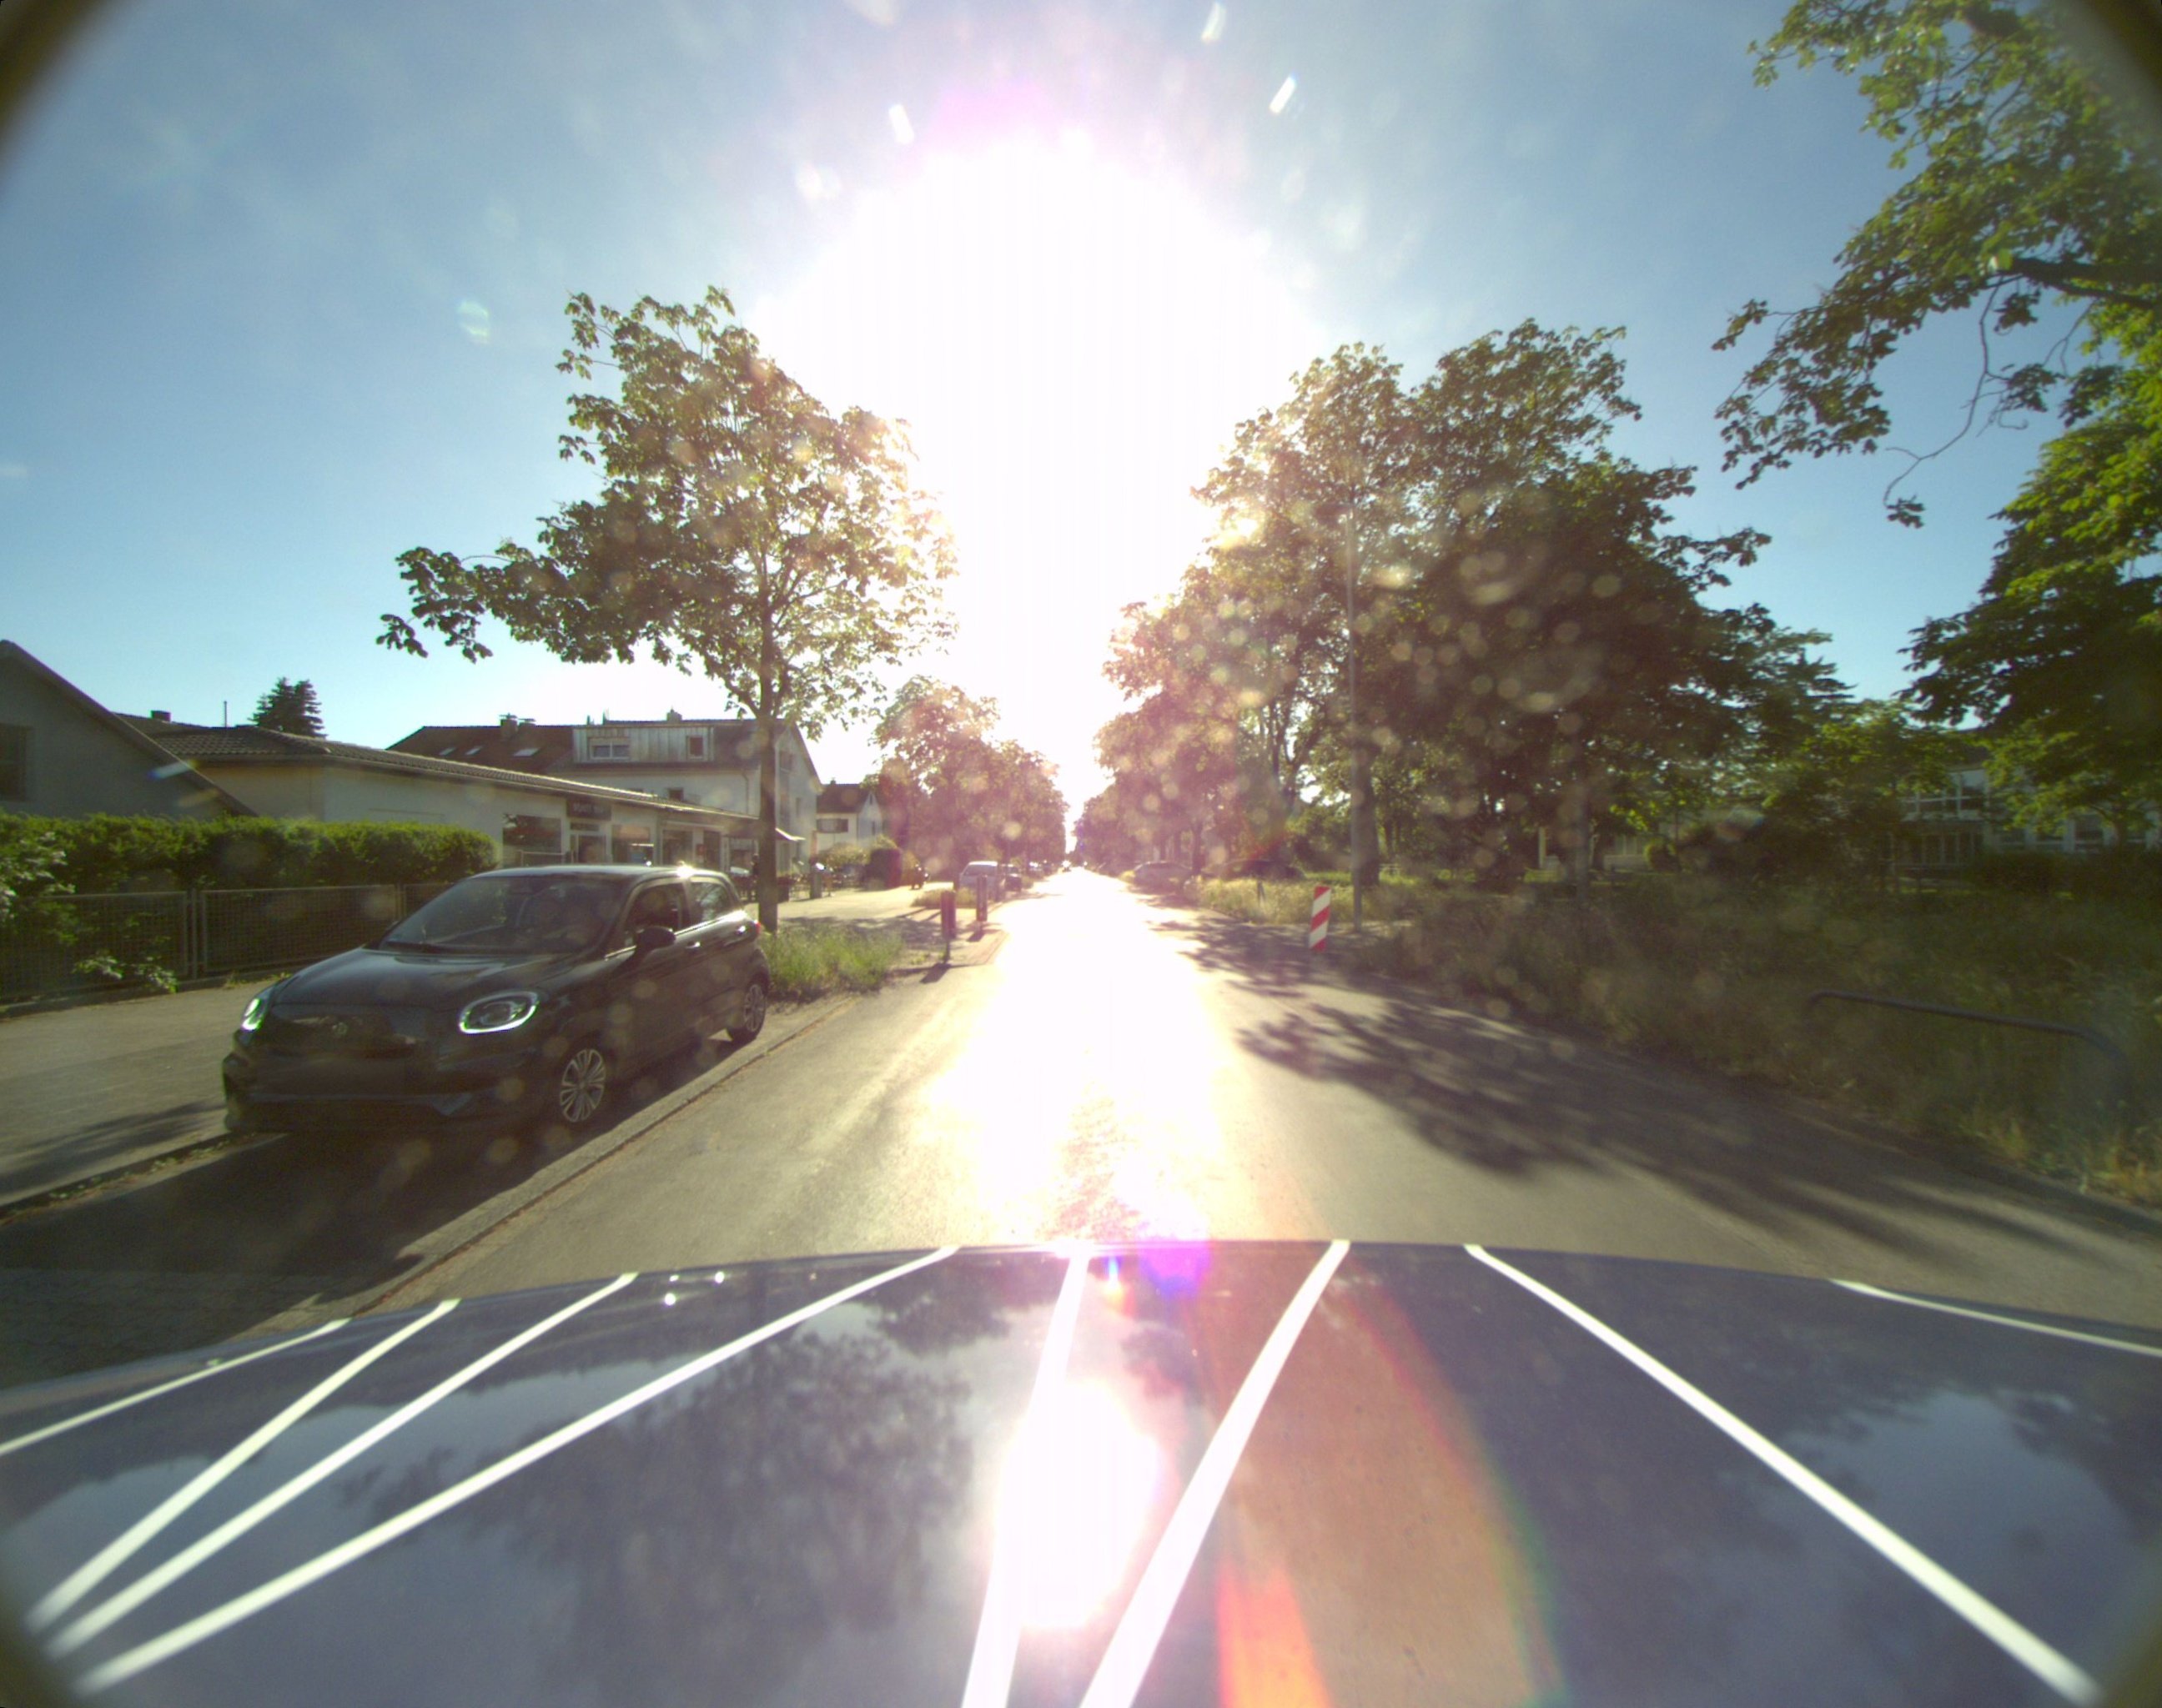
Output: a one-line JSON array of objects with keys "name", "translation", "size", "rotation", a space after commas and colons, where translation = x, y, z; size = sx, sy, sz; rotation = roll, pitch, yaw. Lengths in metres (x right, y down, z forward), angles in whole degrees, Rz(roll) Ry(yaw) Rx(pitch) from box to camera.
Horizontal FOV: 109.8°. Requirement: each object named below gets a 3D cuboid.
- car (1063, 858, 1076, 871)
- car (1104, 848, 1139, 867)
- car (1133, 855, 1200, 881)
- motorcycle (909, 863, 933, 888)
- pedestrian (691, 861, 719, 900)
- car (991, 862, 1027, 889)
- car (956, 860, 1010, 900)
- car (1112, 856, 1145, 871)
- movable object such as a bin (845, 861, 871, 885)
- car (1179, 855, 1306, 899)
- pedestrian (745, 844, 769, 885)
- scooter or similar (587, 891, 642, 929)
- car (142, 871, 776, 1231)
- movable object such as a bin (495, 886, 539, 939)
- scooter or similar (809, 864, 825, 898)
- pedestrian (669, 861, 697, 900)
[{"name": "car", "translation": [-1.882, 1.759, 126.813], "size": [1.999, 2.002, 3.999], "rotation": [-2, 1, 0]}, {"name": "car", "translation": [5.985, 0.559, 113.223], "size": [5.122, 2.597, 2.125], "rotation": [-2, 1, 2]}, {"name": "car", "translation": [5.640, 0.933, 50.505], "size": [4.204, 1.552, 2.000], "rotation": [-2, 0, 0]}, {"name": "motorcycle", "translation": [-8.730, 1.140, 41.584], "size": [0.838, 1.247, 2.344], "rotation": [-2, 1, -2]}, {"name": "pedestrian", "translation": [-13.152, 0.931, 26.583], "size": [0.641, 1.314, 0.574], "rotation": [3, 1, -1]}, {"name": "car", "translation": [-4.037, 1.173, 42.944], "size": [1.733, 1.473, 3.857], "rotation": [0, -1, -1]}, {"name": "car", "translation": [-4.153, 1.074, 32.767], "size": [1.732, 1.568, 3.858], "rotation": [0, 0, 2]}, {"name": "car", "translation": [5.982, 1.184, 96.763], "size": [3.998, 1.740, 1.890], "rotation": [-2, 1, -2]}, {"name": "movable object such as a bin", "translation": [-12.497, 1.047, 42.589], "size": [1.172, 1.286, 0.928], "rotation": [0, 1, -2]}, {"name": "car", "translation": [6.417, 0.911, 30.520], "size": [4.616, 1.552, 2.000], "rotation": [-2, 0, 0]}, {"name": "pedestrian", "translation": [-14.510, 0.484, 34.070], "size": [0.672, 1.798, 0.735], "rotation": [-2, 1, 0]}, {"name": "scooter or similar", "translation": [-10.190, 1.222, 16.643], "size": [0.450, 0.712, 1.228], "rotation": [3, 0, -2]}, {"name": "car", "translation": [-3.616, 0.962, 5.340], "size": [1.497, 1.565, 3.600], "rotation": [2, 0, -1]}, {"name": "movable object such as a bin", "translation": [-10.950, 1.130, 14.763], "size": [0.459, 0.970, 0.526], "rotation": [1, 1, -2]}, {"name": "scooter or similar", "translation": [-10.231, 1.051, 29.465], "size": [0.503, 1.288, 0.461], "rotation": [0, 1, -4]}, {"name": "pedestrian", "translation": [-13.928, 0.930, 26.597], "size": [0.641, 1.314, 0.574], "rotation": [2, 1, -1]}]
